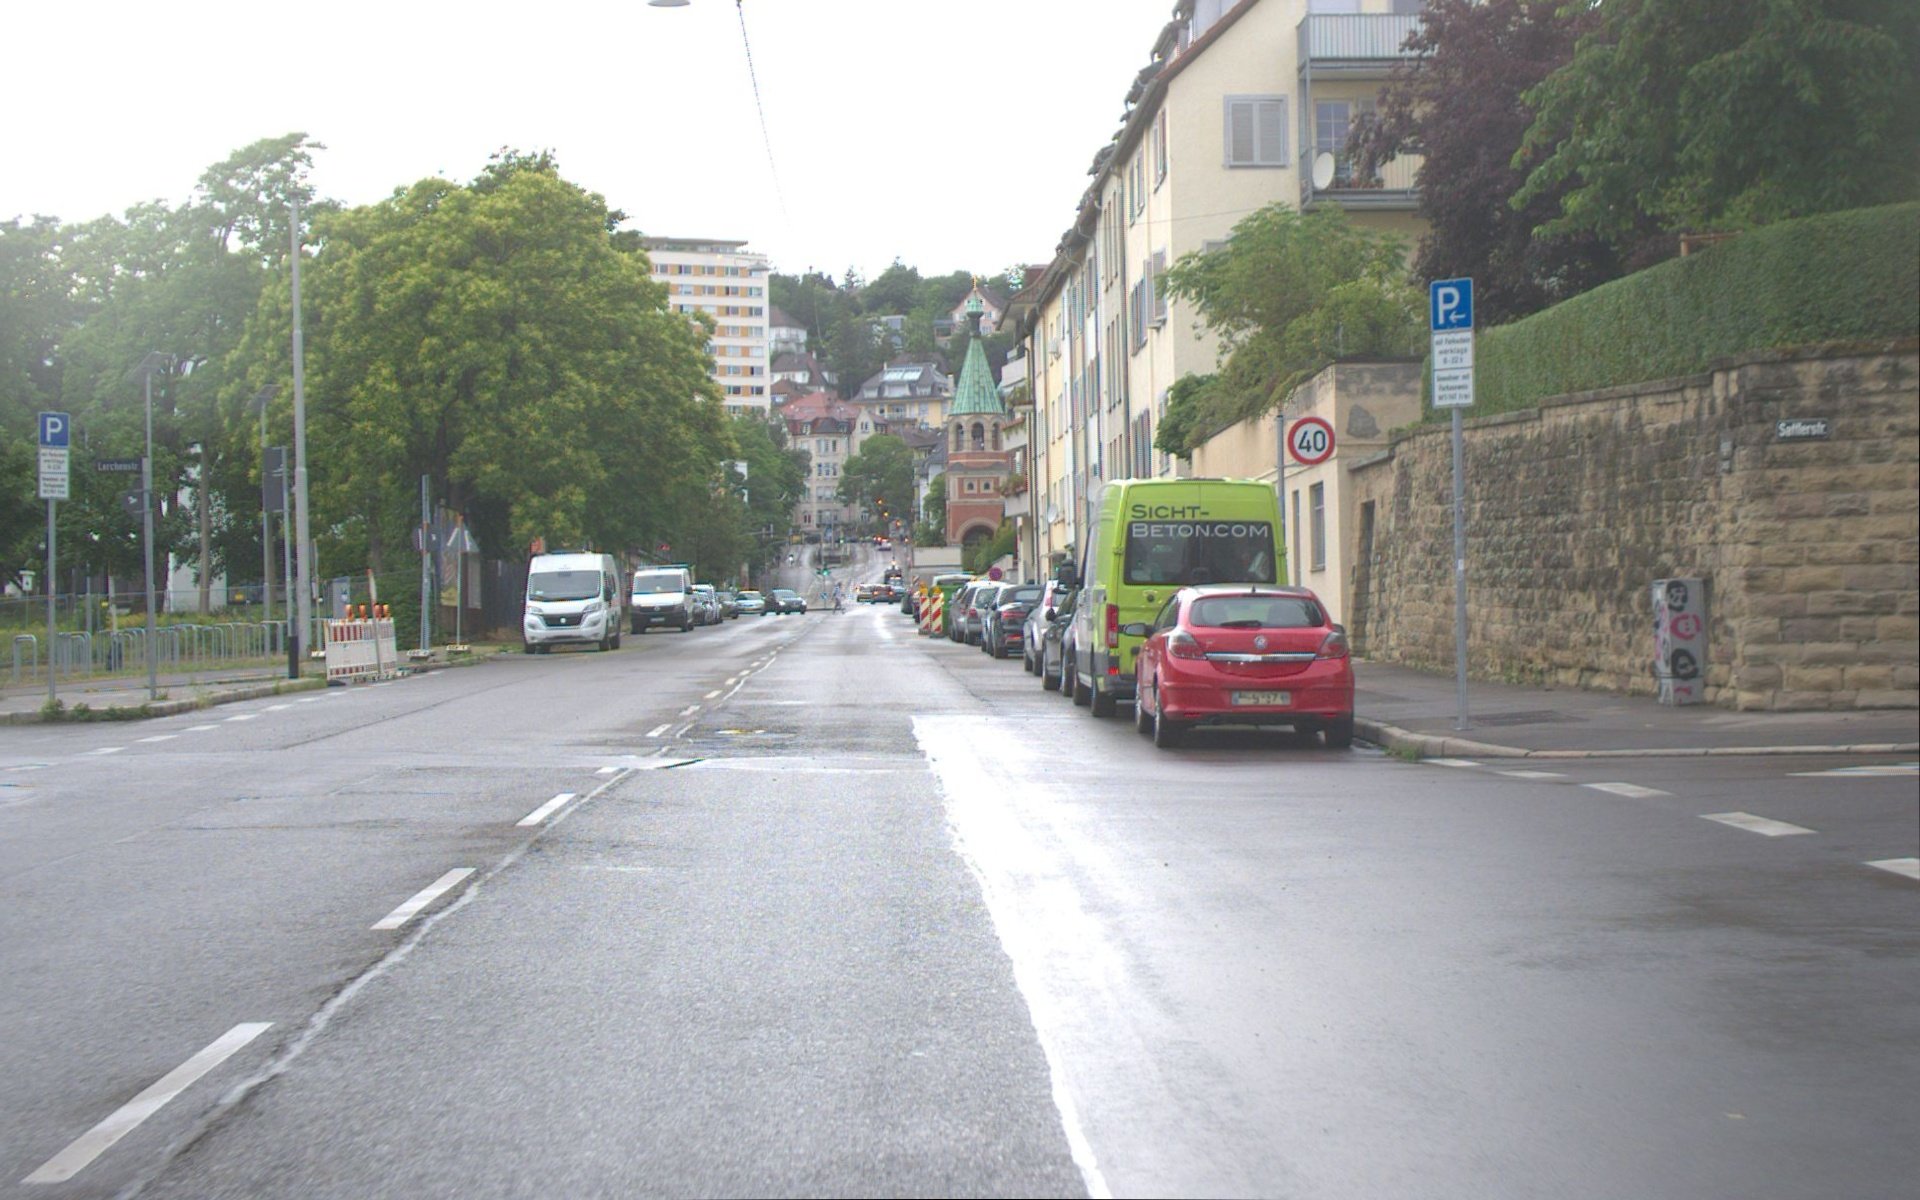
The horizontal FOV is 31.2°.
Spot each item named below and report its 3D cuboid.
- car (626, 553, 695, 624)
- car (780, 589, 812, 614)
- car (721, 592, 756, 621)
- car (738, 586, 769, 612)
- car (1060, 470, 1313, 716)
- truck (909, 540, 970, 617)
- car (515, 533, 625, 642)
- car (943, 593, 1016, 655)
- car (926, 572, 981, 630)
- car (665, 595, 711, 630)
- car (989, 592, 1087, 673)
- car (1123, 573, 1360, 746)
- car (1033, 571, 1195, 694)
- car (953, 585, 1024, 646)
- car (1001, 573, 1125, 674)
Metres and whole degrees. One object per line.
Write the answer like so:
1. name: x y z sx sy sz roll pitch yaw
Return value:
1. car: -10.933 -0.444 125.739 2.012 2.479 5.983 -2 0 -1
2. car: -9.705 0.104 203.152 1.805 1.411 4.384 -1 0 -4
3. car: -11.726 0.358 181.889 1.803 1.446 4.658 -1 0 -4
4. car: -11.838 -0.043 197.137 1.709 1.446 4.294 -1 0 -3
5. car: 2.367 -0.100 37.660 2.205 2.455 6.080 1 1 -1
6. truck: -0.891 -0.870 146.060 2.469 3.161 7.036 -1 0 -1
7. car: -9.794 -0.322 86.827 2.230 2.570 6.538 -2 0 -2
8. car: 0.488 0.614 90.304 1.716 1.519 4.000 1 1 -2
9. car: -0.253 0.024 119.892 1.817 1.917 4.239 -2 0 -1
10. car: -11.180 0.519 141.450 1.682 1.394 3.911 -2 0 -2
11. car: 1.474 0.596 65.827 1.629 1.449 3.760 1 1 -2
12. car: 2.449 0.478 30.813 1.721 1.416 4.203 1 1 -1
13. car: 1.898 0.374 43.458 1.688 1.449 4.235 1 1 -2
14. car: 0.690 0.369 85.119 1.558 1.449 3.760 1 1 -2
15. car: 1.619 0.407 55.251 1.688 1.449 4.235 1 -3 -2
